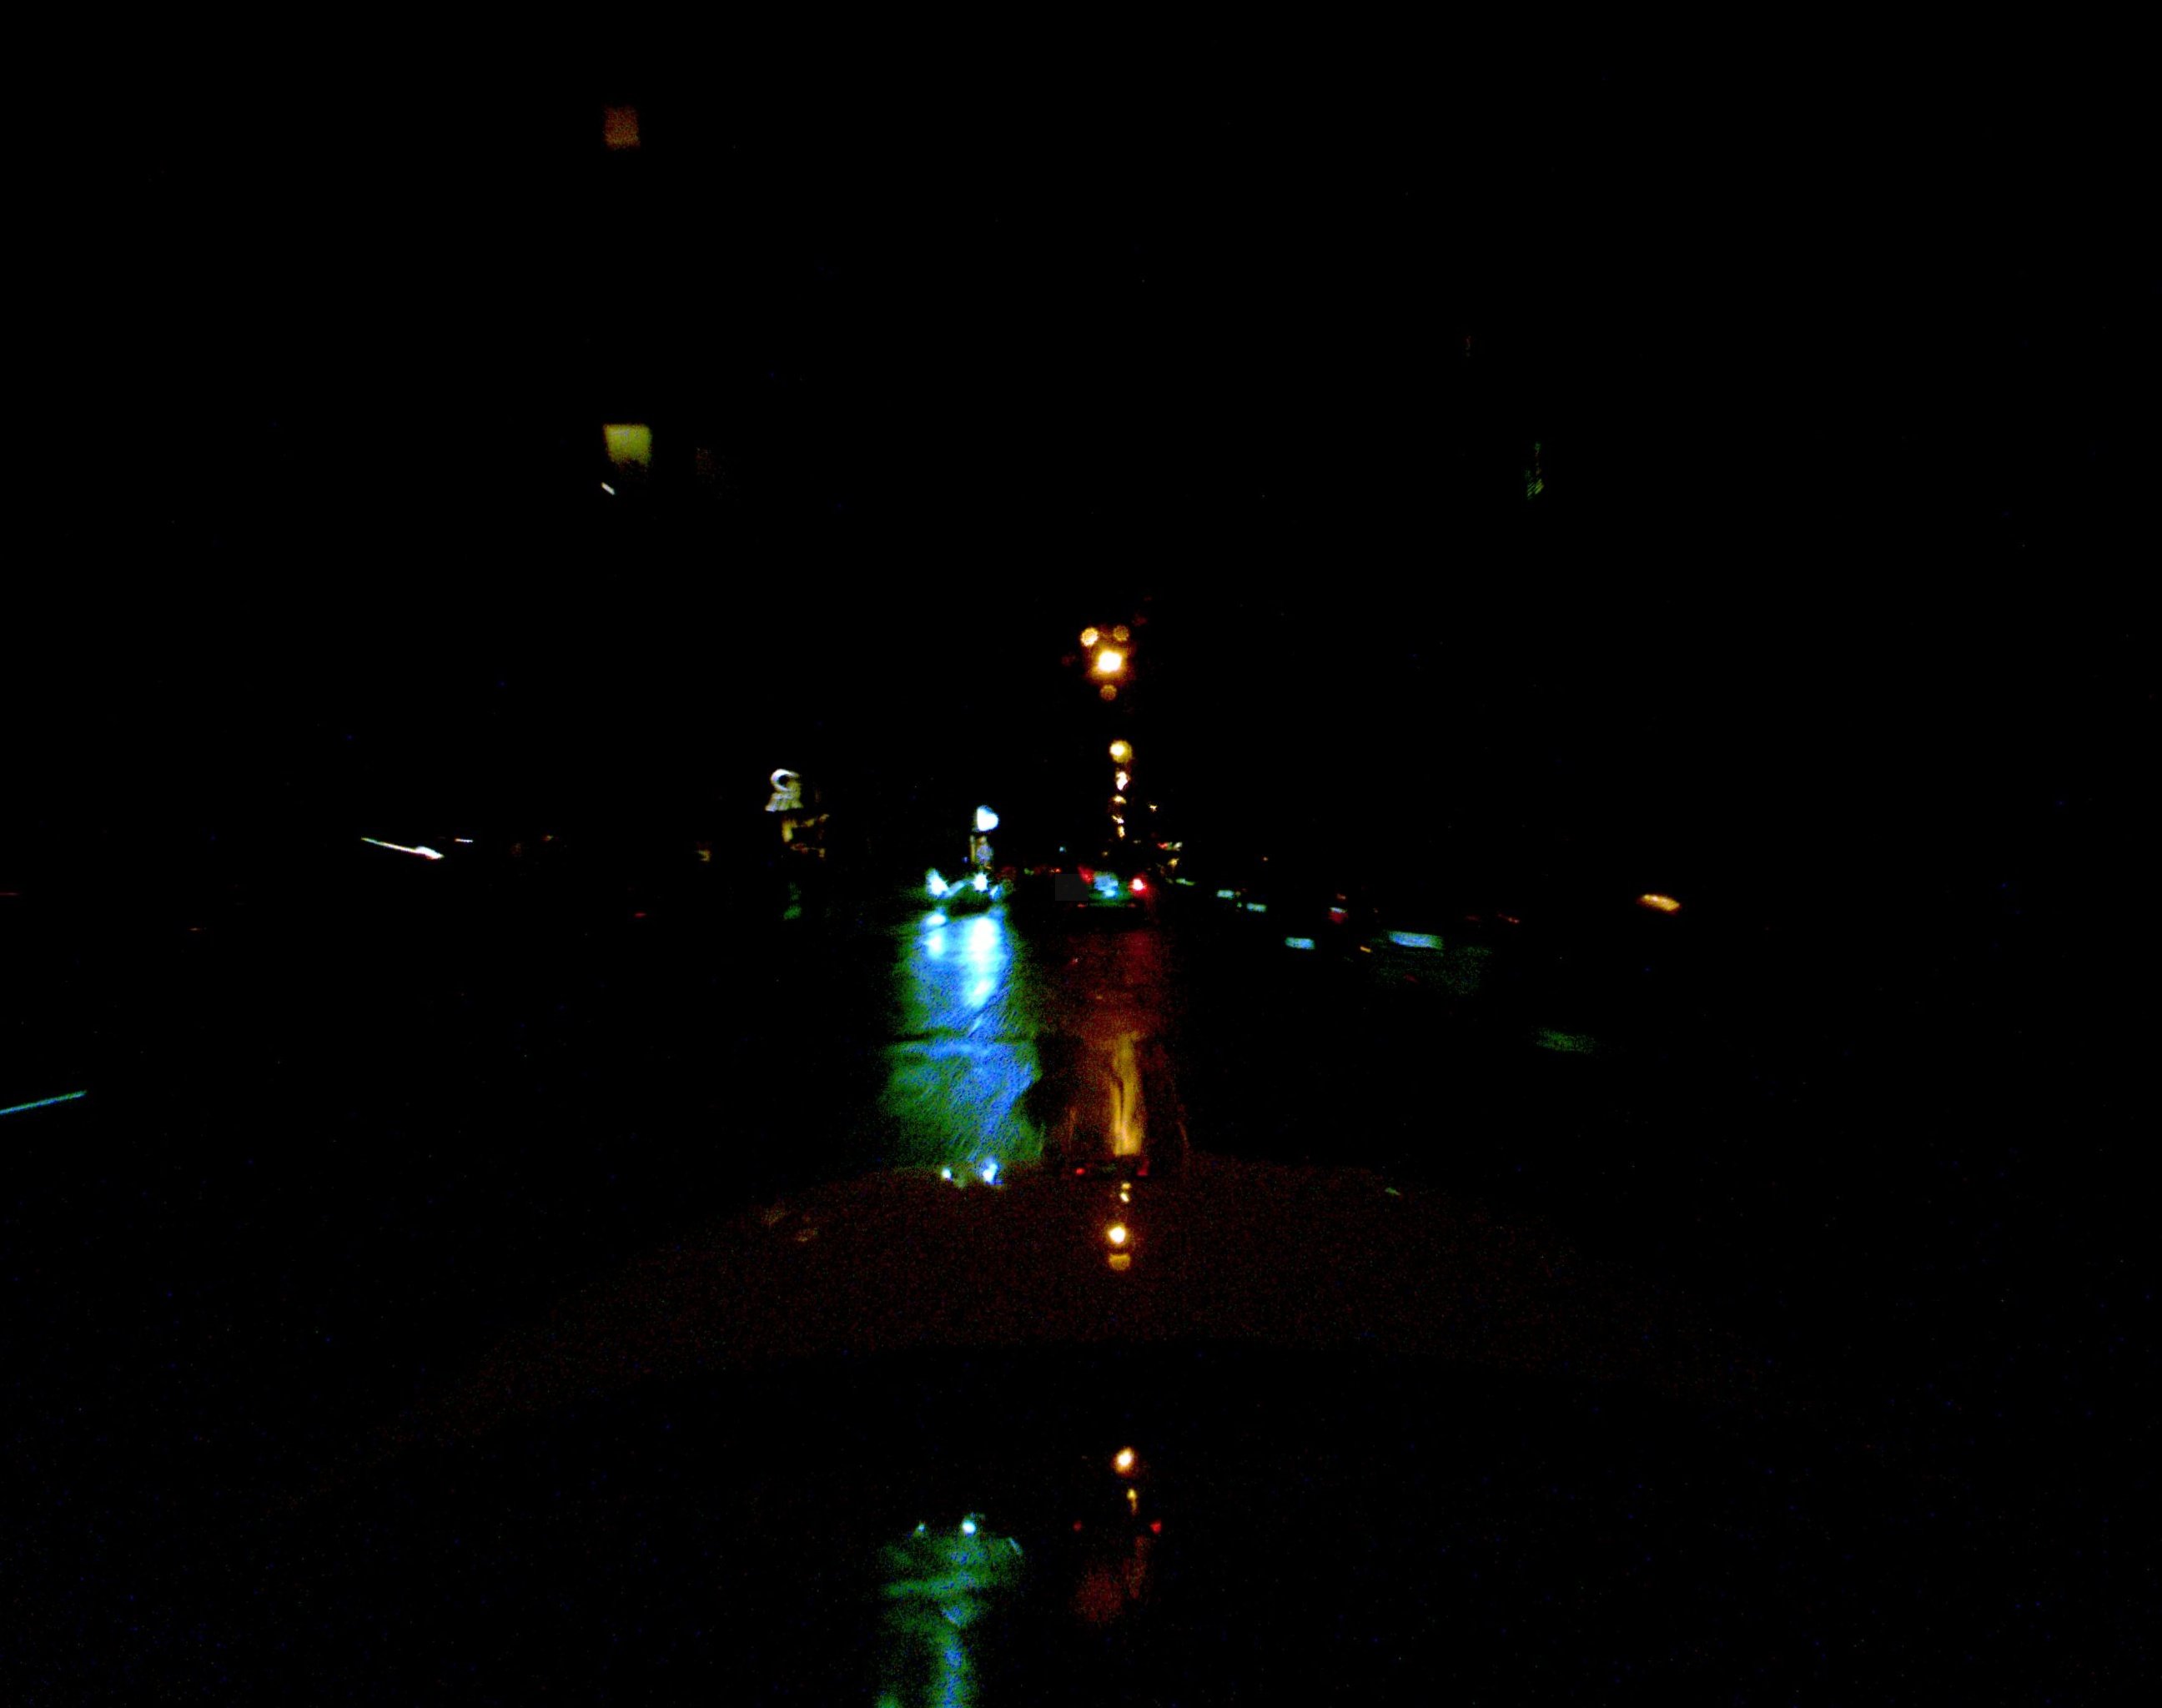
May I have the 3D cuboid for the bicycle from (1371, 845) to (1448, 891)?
[{"bbox_3d":[9.487,0.400,23.537,1.968,1.191,0.509,-4,-1,-5],"label":"bicycle"}]

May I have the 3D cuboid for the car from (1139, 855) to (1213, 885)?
[{"bbox_3d":[5.575,0.913,47.649,4.015,1.552,1.786,-2,-1,-33],"label":"car"}]

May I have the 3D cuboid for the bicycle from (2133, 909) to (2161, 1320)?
[{"bbox_3d":[3.922,0.688,1.896,1.880,1.158,0.681,-3,0,5],"label":"bicycle"}]

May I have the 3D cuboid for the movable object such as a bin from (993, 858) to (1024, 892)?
[{"bbox_3d":[-3.173,0.898,35.838,1.203,1.459,1.108,0,-1,4],"label":"movable object such as a bin"}]

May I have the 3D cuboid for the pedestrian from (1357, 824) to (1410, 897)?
[{"bbox_3d":[8.107,0.194,21.876,0.836,1.835,0.947,-6,-2,-1],"label":"pedestrian"}]

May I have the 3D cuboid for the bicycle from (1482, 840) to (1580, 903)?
[{"bbox_3d":[9.303,0.348,16.855,1.683,1.146,0.596,-5,0,-6],"label":"bicycle"}]

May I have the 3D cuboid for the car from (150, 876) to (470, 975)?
[{"bbox_3d":[-13.466,1.214,14.393,3.971,1.538,1.792,-1,0,2],"label":"car"}]

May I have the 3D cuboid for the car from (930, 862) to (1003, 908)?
[{"bbox_3d":[-3.771,0.982,27.515,1.647,1.359,4.225,-1,0,2],"label":"car"}]

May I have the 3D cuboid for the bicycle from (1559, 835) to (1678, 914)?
[{"bbox_3d":[8.808,0.331,13.358,1.683,1.146,0.428,-5,0,-6],"label":"bicycle"}]

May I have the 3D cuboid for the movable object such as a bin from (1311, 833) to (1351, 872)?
[{"bbox_3d":[10.199,-0.046,33.252,1.204,1.451,0.999,-6,-1,2],"label":"movable object such as a bin"}]

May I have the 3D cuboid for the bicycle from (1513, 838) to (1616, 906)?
[{"bbox_3d":[9.256,0.340,15.608,1.683,1.146,0.485,-5,0,-6],"label":"bicycle"}]

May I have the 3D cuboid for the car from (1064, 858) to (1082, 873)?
[{"bbox_3d":[-0.818,1.207,86.119,1.580,1.482,3.797,-1,0,4],"label":"car"}]

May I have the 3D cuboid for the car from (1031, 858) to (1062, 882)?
[{"bbox_3d":[-2.215,1.039,53.204,1.679,1.455,4.318,0,0,2],"label":"car"}]

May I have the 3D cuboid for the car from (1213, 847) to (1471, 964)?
[{"bbox_3d":[4.063,0.725,12.795,3.565,1.611,1.702,-1,0,-20],"label":"car"}]

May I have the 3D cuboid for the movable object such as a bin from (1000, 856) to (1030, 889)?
[{"bbox_3d":[-2.987,0.841,36.996,1.159,1.459,1.108,0,-1,4],"label":"movable object such as a bin"}]

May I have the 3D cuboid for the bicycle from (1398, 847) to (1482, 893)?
[{"bbox_3d":[9.534,0.432,21.657,1.968,1.054,0.509,-4,-1,-5],"label":"bicycle"}]

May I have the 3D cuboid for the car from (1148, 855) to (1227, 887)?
[{"bbox_3d":[5.919,0.939,45.171,4.017,1.552,1.978,-2,-1,-35],"label":"car"}]

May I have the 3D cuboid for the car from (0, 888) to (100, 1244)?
[{"bbox_3d":[-5.237,0.868,1.881,1.540,1.443,3.564,0,0,2],"label":"car"}]

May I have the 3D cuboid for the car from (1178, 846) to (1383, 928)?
[{"bbox_3d":[4.364,0.665,17.936,4.061,1.611,1.833,-1,0,-19],"label":"car"}]

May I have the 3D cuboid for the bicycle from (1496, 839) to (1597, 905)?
[{"bbox_3d":[9.241,0.344,16.175,1.683,1.146,0.540,-5,0,-6],"label":"bicycle"}]

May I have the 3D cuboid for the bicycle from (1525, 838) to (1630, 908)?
[{"bbox_3d":[9.175,0.337,15.076,1.683,1.146,0.428,-5,0,-6],"label":"bicycle"}]

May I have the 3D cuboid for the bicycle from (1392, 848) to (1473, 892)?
[{"bbox_3d":[9.594,0.436,22.233,1.968,1.054,0.509,-4,-1,-5],"label":"bicycle"}]

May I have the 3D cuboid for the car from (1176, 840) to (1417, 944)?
[{"bbox_3d":[4.065,0.641,15.465,4.106,1.764,1.847,-1,0,-20],"label":"car"}]

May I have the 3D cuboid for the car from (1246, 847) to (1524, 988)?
[{"bbox_3d":[3.809,0.704,10.301,3.048,1.552,1.495,-1,0,-20],"label":"car"}]

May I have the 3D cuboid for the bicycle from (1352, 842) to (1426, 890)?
[{"bbox_3d":[9.684,0.365,25.649,1.960,1.335,0.784,-4,-1,8],"label":"bicycle"}]

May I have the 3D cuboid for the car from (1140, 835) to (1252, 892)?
[{"bbox_3d":[5.137,0.396,36.051,4.744,2.248,1.926,-2,-1,-34],"label":"car"}]

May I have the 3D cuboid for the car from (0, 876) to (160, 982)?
[{"bbox_3d":[-19.340,1.288,14.417,3.971,1.680,1.887,-1,0,2],"label":"car"}]

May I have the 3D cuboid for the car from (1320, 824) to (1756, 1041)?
[{"bbox_3d":[4.359,0.603,7.787,3.716,1.522,1.644,-3,-1,-23],"label":"car"}]

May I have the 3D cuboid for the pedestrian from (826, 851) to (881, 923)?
[{"bbox_3d":[-5.846,0.838,20.991,1.128,1.782,0.788,-1,0,2],"label":"pedestrian"}]

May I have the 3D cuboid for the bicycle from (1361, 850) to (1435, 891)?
[{"bbox_3d":[9.408,0.475,24.188,1.968,1.054,0.509,-4,-1,-5],"label":"bicycle"}]

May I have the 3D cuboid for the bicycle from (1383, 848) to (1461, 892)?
[{"bbox_3d":[9.572,0.448,22.878,1.968,1.054,0.509,-4,-1,-5],"label":"bicycle"}]

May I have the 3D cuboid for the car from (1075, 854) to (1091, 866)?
[{"bbox_3d":[0.232,0.741,101.760,1.807,1.557,4.075,-1,0,-1],"label":"car"}]

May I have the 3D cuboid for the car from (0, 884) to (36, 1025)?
[{"bbox_3d":[-14.092,1.197,8.611,3.918,1.571,1.718,-2,0,2],"label":"car"}]

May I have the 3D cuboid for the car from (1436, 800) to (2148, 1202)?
[{"bbox_3d":[4.169,0.573,4.797,3.716,1.522,1.644,-3,-1,-23],"label":"car"}]

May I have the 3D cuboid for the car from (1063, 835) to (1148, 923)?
[{"bbox_3d":[0.673,0.625,21.218,1.985,2.050,4.002,-1,-1,3],"label":"car"}]

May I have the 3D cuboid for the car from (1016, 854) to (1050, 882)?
[{"bbox_3d":[-2.776,0.798,47.896,1.597,1.552,4.028,0,0,2],"label":"car"}]

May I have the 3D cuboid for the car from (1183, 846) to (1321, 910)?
[{"bbox_3d":[5.008,0.636,23.780,3.787,1.728,1.700,-1,0,-31],"label":"car"}]

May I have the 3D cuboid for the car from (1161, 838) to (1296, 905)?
[{"bbox_3d":[4.844,0.531,26.544,4.264,1.858,1.699,-3,-1,-33],"label":"car"}]

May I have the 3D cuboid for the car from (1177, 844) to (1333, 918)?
[{"bbox_3d":[4.528,0.623,21.042,3.817,1.728,1.724,-1,0,-33],"label":"car"}]

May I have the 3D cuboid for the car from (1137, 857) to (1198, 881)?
[{"bbox_3d":[5.802,1.000,54.738,3.687,1.460,1.592,-3,0,-22],"label":"car"}]

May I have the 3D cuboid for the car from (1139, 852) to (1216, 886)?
[{"bbox_3d":[4.972,0.746,41.840,3.662,1.542,1.546,-2,-1,-28],"label":"car"}]

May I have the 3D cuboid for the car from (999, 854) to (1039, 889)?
[{"bbox_3d":[-3.152,0.876,42.018,1.597,1.706,3.723,-1,0,2],"label":"car"}]
